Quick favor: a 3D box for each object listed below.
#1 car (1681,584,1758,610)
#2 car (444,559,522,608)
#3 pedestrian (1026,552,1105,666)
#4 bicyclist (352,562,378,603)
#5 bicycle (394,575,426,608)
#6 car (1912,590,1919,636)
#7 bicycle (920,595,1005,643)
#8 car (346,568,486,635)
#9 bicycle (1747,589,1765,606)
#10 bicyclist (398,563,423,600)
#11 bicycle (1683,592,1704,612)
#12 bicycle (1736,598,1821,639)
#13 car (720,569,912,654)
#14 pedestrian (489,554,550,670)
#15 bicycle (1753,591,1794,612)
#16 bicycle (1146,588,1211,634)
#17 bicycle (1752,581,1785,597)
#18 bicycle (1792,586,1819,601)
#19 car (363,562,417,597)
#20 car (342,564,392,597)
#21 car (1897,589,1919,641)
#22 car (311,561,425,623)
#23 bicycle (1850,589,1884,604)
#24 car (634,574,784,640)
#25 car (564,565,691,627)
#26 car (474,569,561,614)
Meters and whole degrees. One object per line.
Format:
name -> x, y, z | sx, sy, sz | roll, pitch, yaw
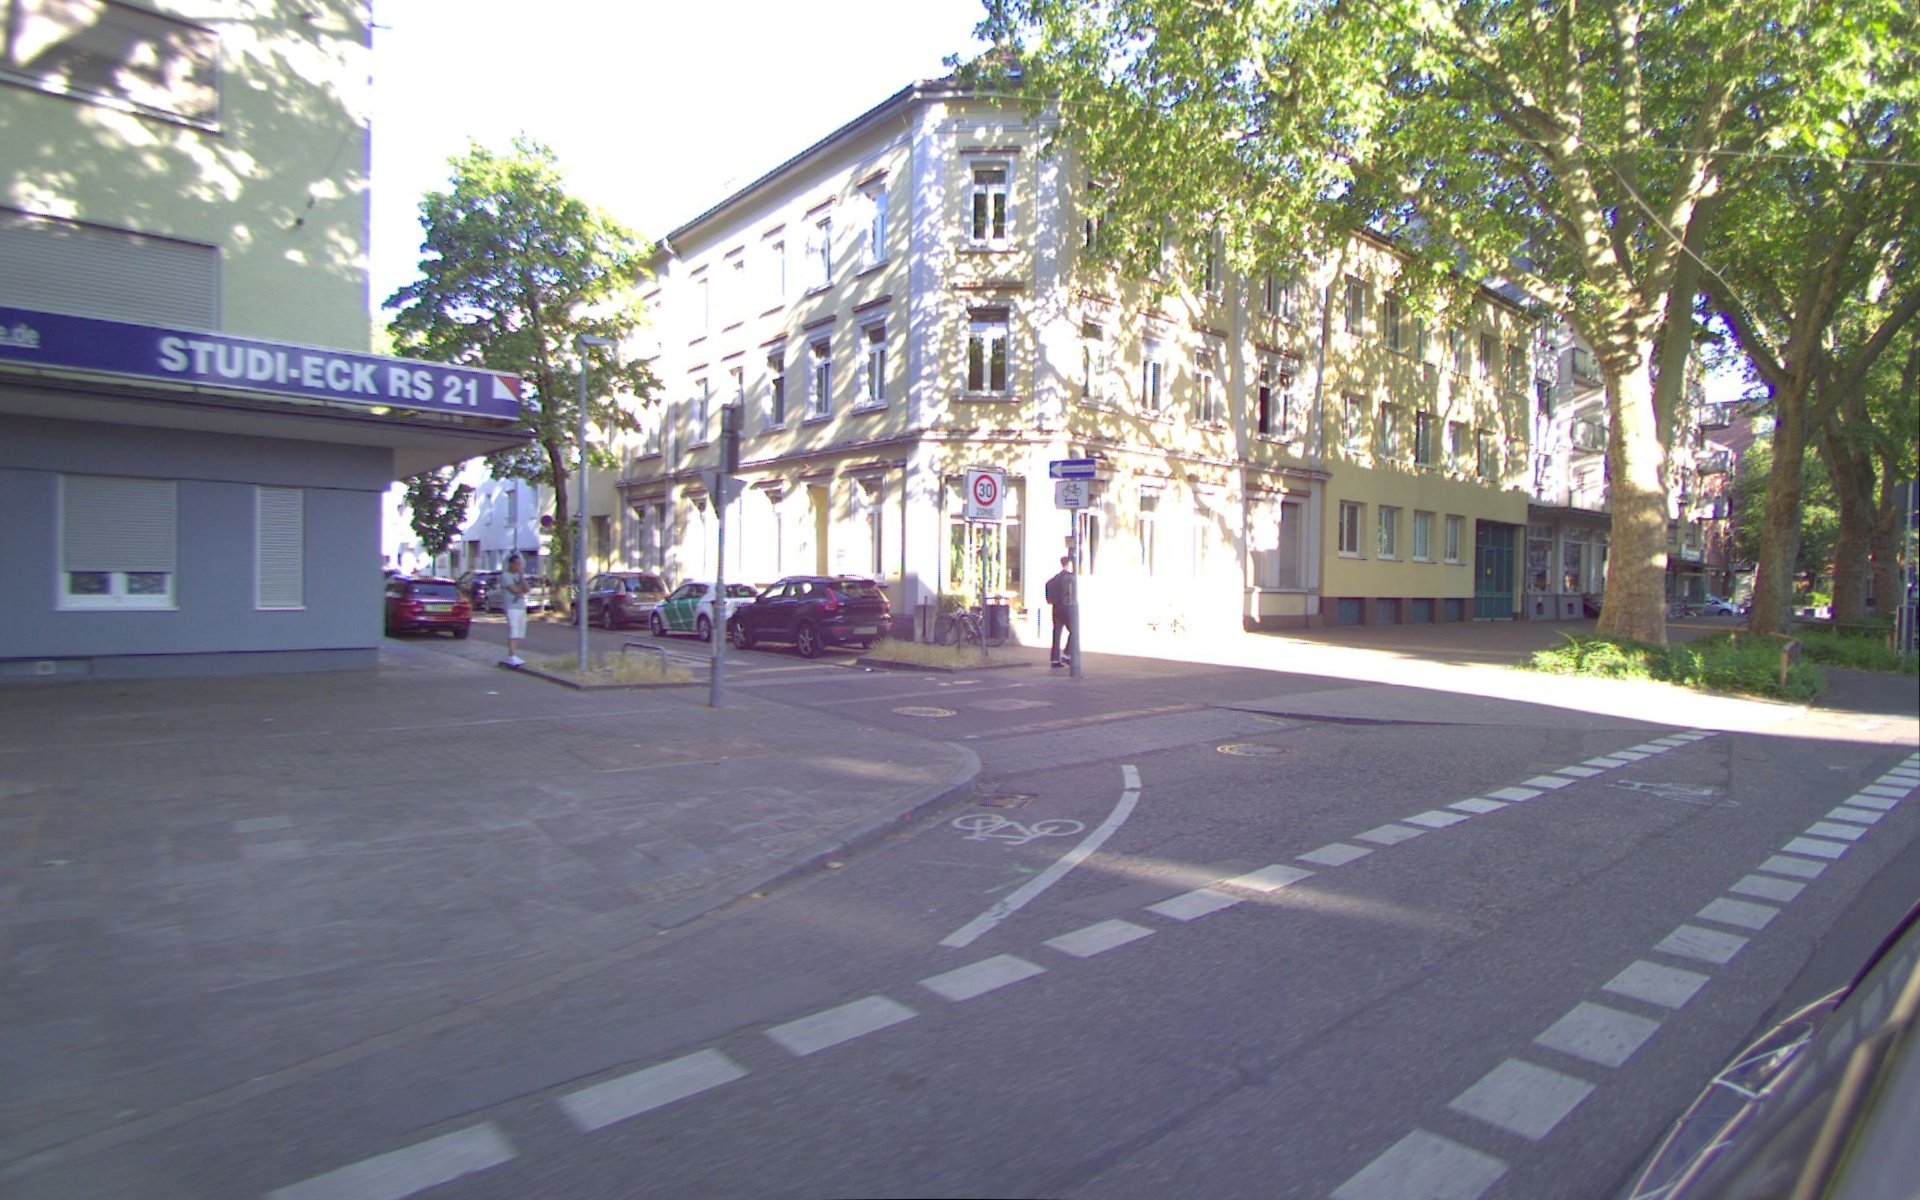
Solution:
car -> 52.010, -0.224, 69.349 | 1.833, 1.714, 3.870 | 0, 2, -40
car -> -19.451, -0.664, 41.192 | 1.963, 1.813, 4.142 | 3, -1, -38
pedestrian -> 1.822, 0.135, 17.500 | 1.169, 1.890, 0.767 | 0, 1, -44
bicyclist -> -23.191, -0.685, 39.431 | 0.733, 1.520, 0.786 | 0, 3, -40
bicycle -> -21.188, -0.347, 38.974 | 0.732, 1.171, 1.796 | 0, 3, -39
car -> 33.999, 0.434, 34.646 | 4.528, 1.453, 1.818 | -2, 4, -44
bicycle -> 0.058, 0.414, 22.320 | 1.808, 1.020, 0.567 | 0, 0, 15
car -> -13.150, 0.018, 24.340 | 1.966, 1.440, 4.136 | 3, -1, -43
bicycle -> 56.325, -0.195, 71.618 | 1.666, 1.171, 0.602 | 0, 3, -38
bicyclist -> -21.154, -0.718, 38.932 | 0.732, 1.418, 0.660 | 0, 3, -40
bicycle -> 38.973, 0.086, 53.766 | 0.570, 1.009, 1.752 | 4, 3, 44
bicycle -> 24.023, 0.528, 29.756 | 0.500, 1.018, 1.975 | 1, 4, -14
car -> -3.118, 0.176, 21.439 | 1.968, 1.613, 4.133 | 0, 1, -45
pedestrian -> -6.538, 0.159, 15.011 | 0.654, 1.665, 0.748 | 0, 1, -39
bicycle -> 49.025, 0.070, 61.007 | 1.781, 1.171, 0.739 | 3, 3, 28
bicycle -> 5.630, 0.265, 26.048 | 1.889, 1.117, 0.583 | -1, 3, -41
bicycle -> 63.600, -0.881, 79.594 | 0.560, 1.171, 1.939 | 1, 3, -24
bicycle -> 73.769, -0.556, 88.351 | 0.561, 1.171, 1.684 | 0, 3, -35
car -> -31.315, -1.113, 55.529 | 1.963, 1.813, 4.142 | 3, -1, -38
car -> -35.083, -1.142, 59.809 | 1.963, 1.813, 4.142 | 3, -1, -38
car -> 30.687, 0.474, 31.660 | 2.858, 1.537, 1.568 | -1, 3, -38
car -> -17.131, -0.233, 29.213 | 1.966, 1.627, 4.136 | 3, -1, -43
bicycle -> 75.789, -0.315, 84.596 | 0.562, 1.171, 2.036 | 0, 3, -39
car -> -6.477, 0.103, 25.876 | 1.967, 1.522, 4.136 | -2, 3, -43
car -> -9.799, -0.119, 29.673 | 1.966, 1.657, 4.136 | 3, -1, -43
car -> -16.486, -0.321, 37.581 | 1.963, 1.523, 4.142 | 3, -1, -38
